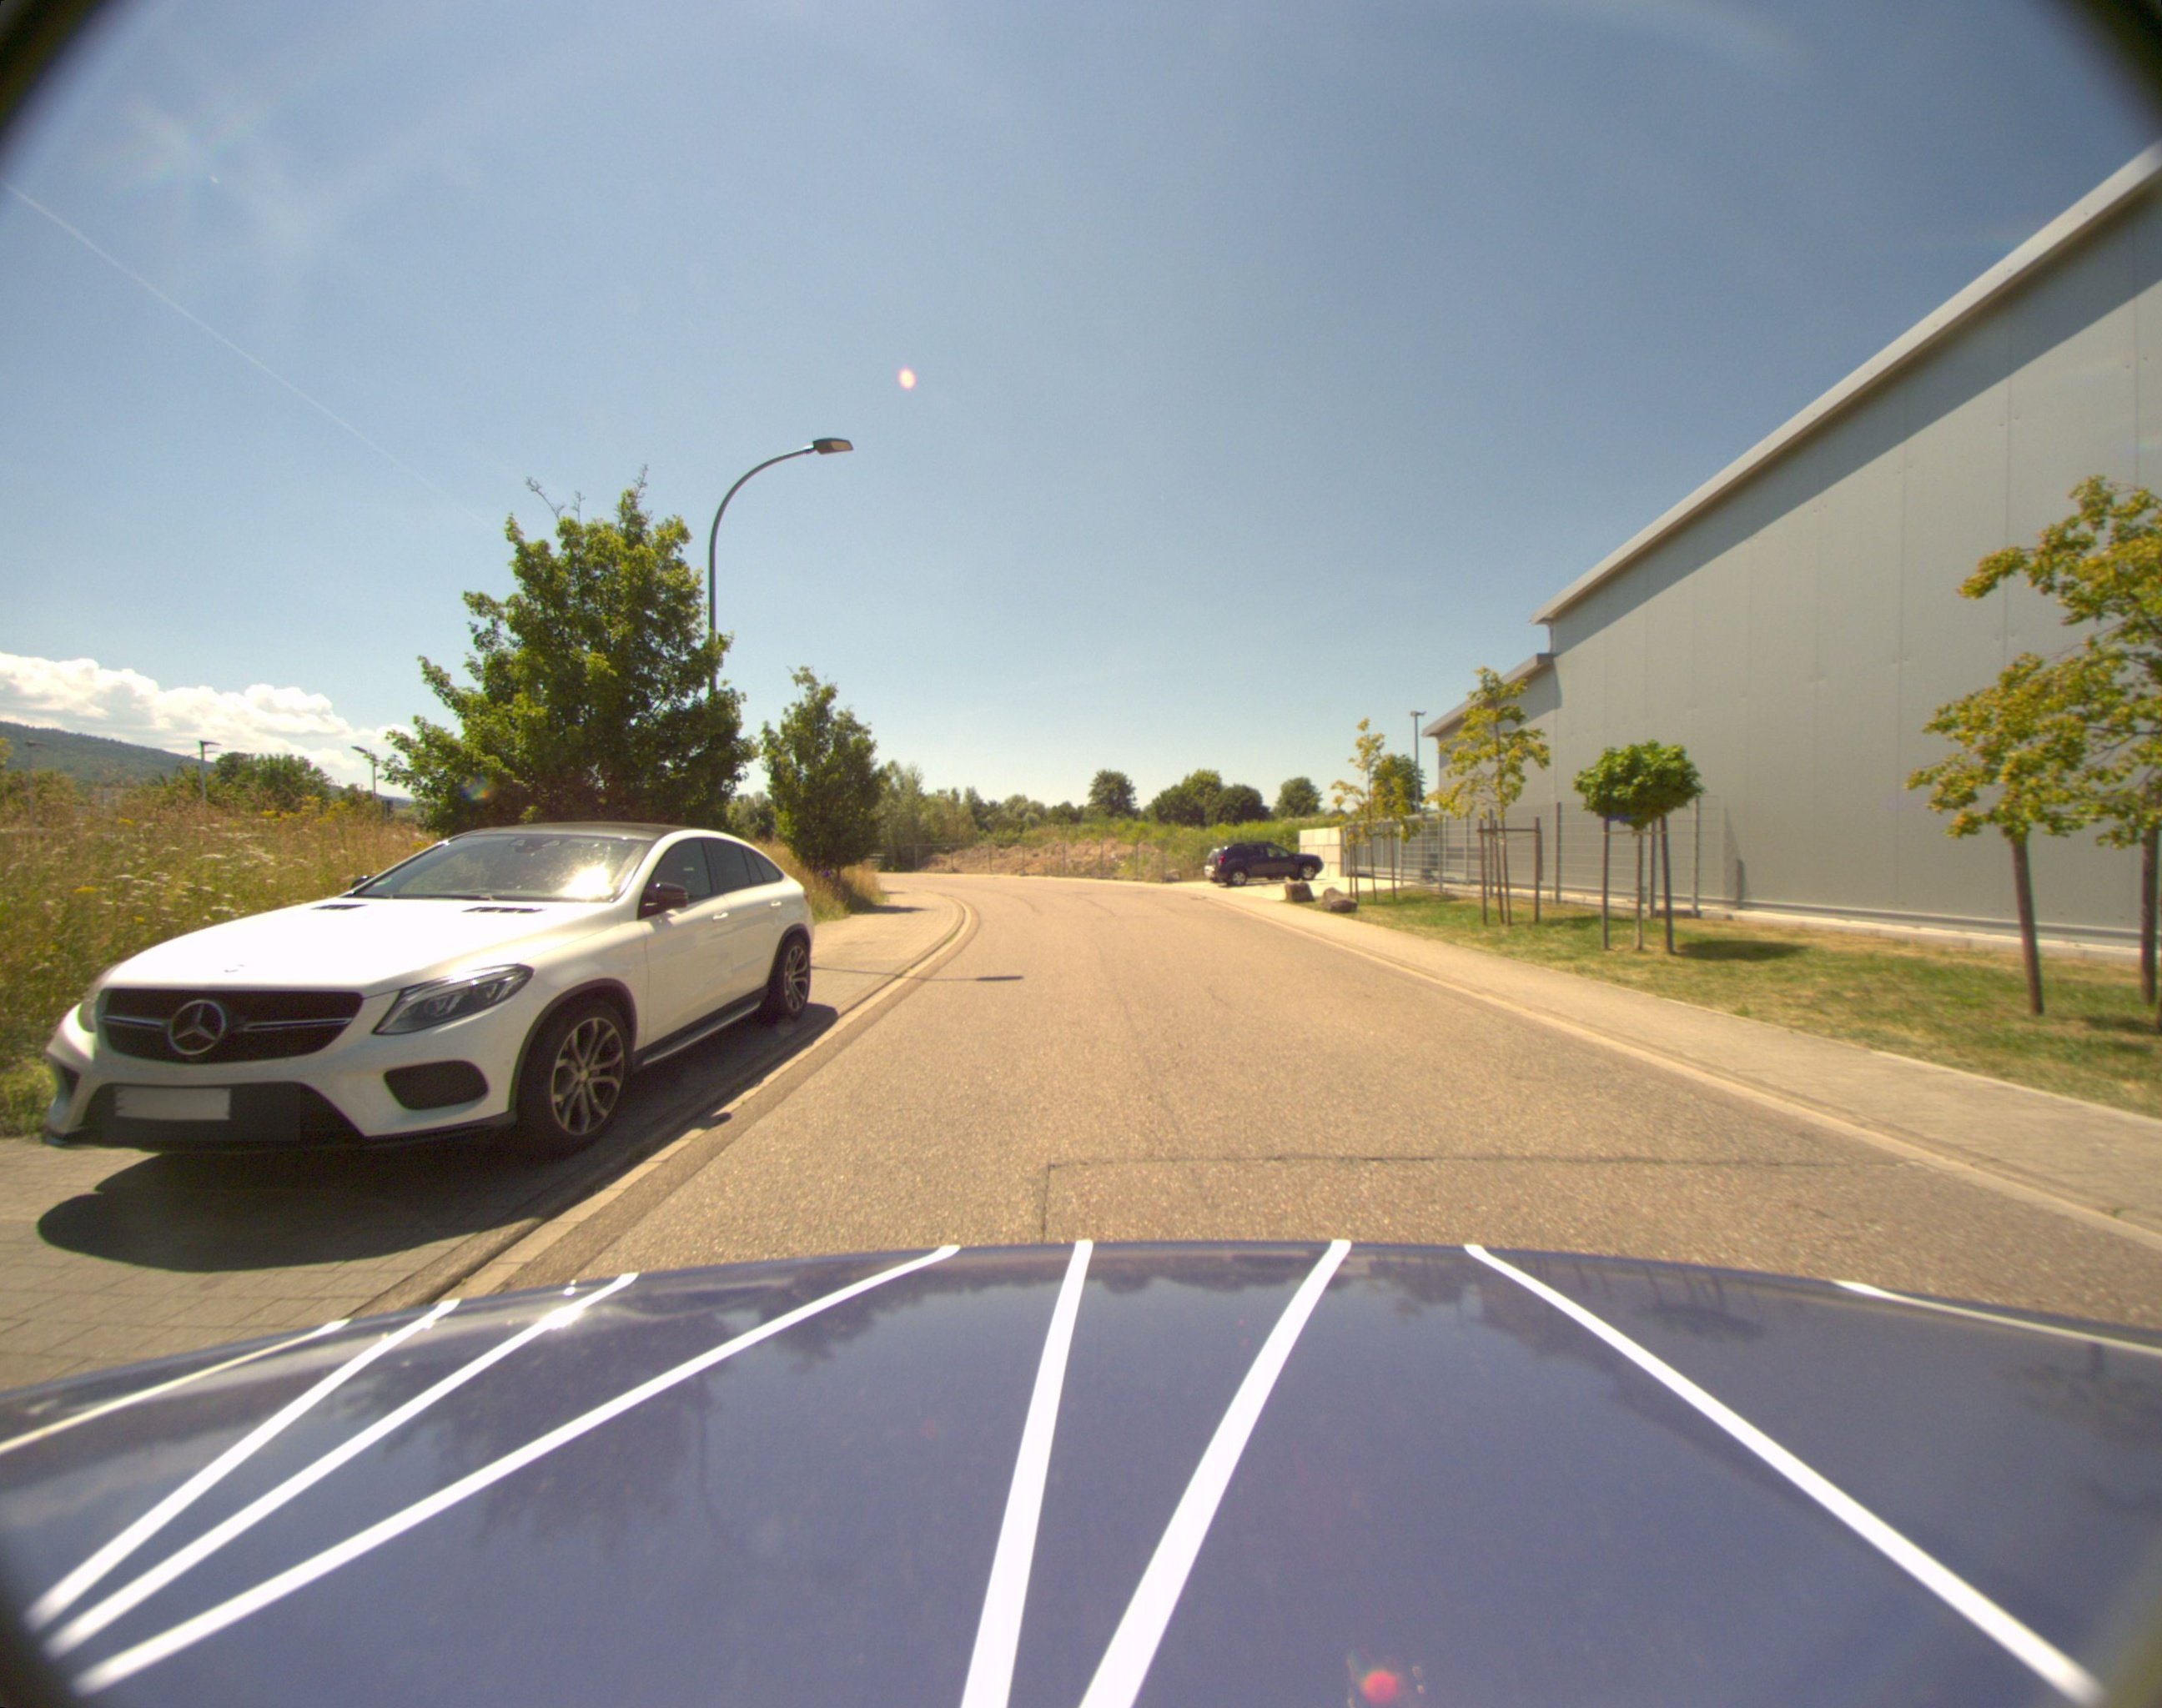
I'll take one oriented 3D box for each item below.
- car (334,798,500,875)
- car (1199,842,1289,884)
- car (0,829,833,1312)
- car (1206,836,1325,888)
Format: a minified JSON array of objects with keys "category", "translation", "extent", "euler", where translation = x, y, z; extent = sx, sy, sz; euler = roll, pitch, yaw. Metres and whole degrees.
[{"category":"car","translation":[-25.428,-0.671,29.391],"extent":[1.998,2.728,4.751],"euler":[0,2,4]},{"category":"car","translation":[6.956,0.352,32.646],"extent":[3.369,1.453,1.781],"euler":[-5,1,-2]},{"category":"car","translation":[-3.530,0.742,5.085],"extent":[2.149,1.689,4.784],"euler":[1,1,0]},{"category":"car","translation":[7.221,0.294,29.991],"extent":[4.173,1.650,1.781],"euler":[-5,1,0]}]
